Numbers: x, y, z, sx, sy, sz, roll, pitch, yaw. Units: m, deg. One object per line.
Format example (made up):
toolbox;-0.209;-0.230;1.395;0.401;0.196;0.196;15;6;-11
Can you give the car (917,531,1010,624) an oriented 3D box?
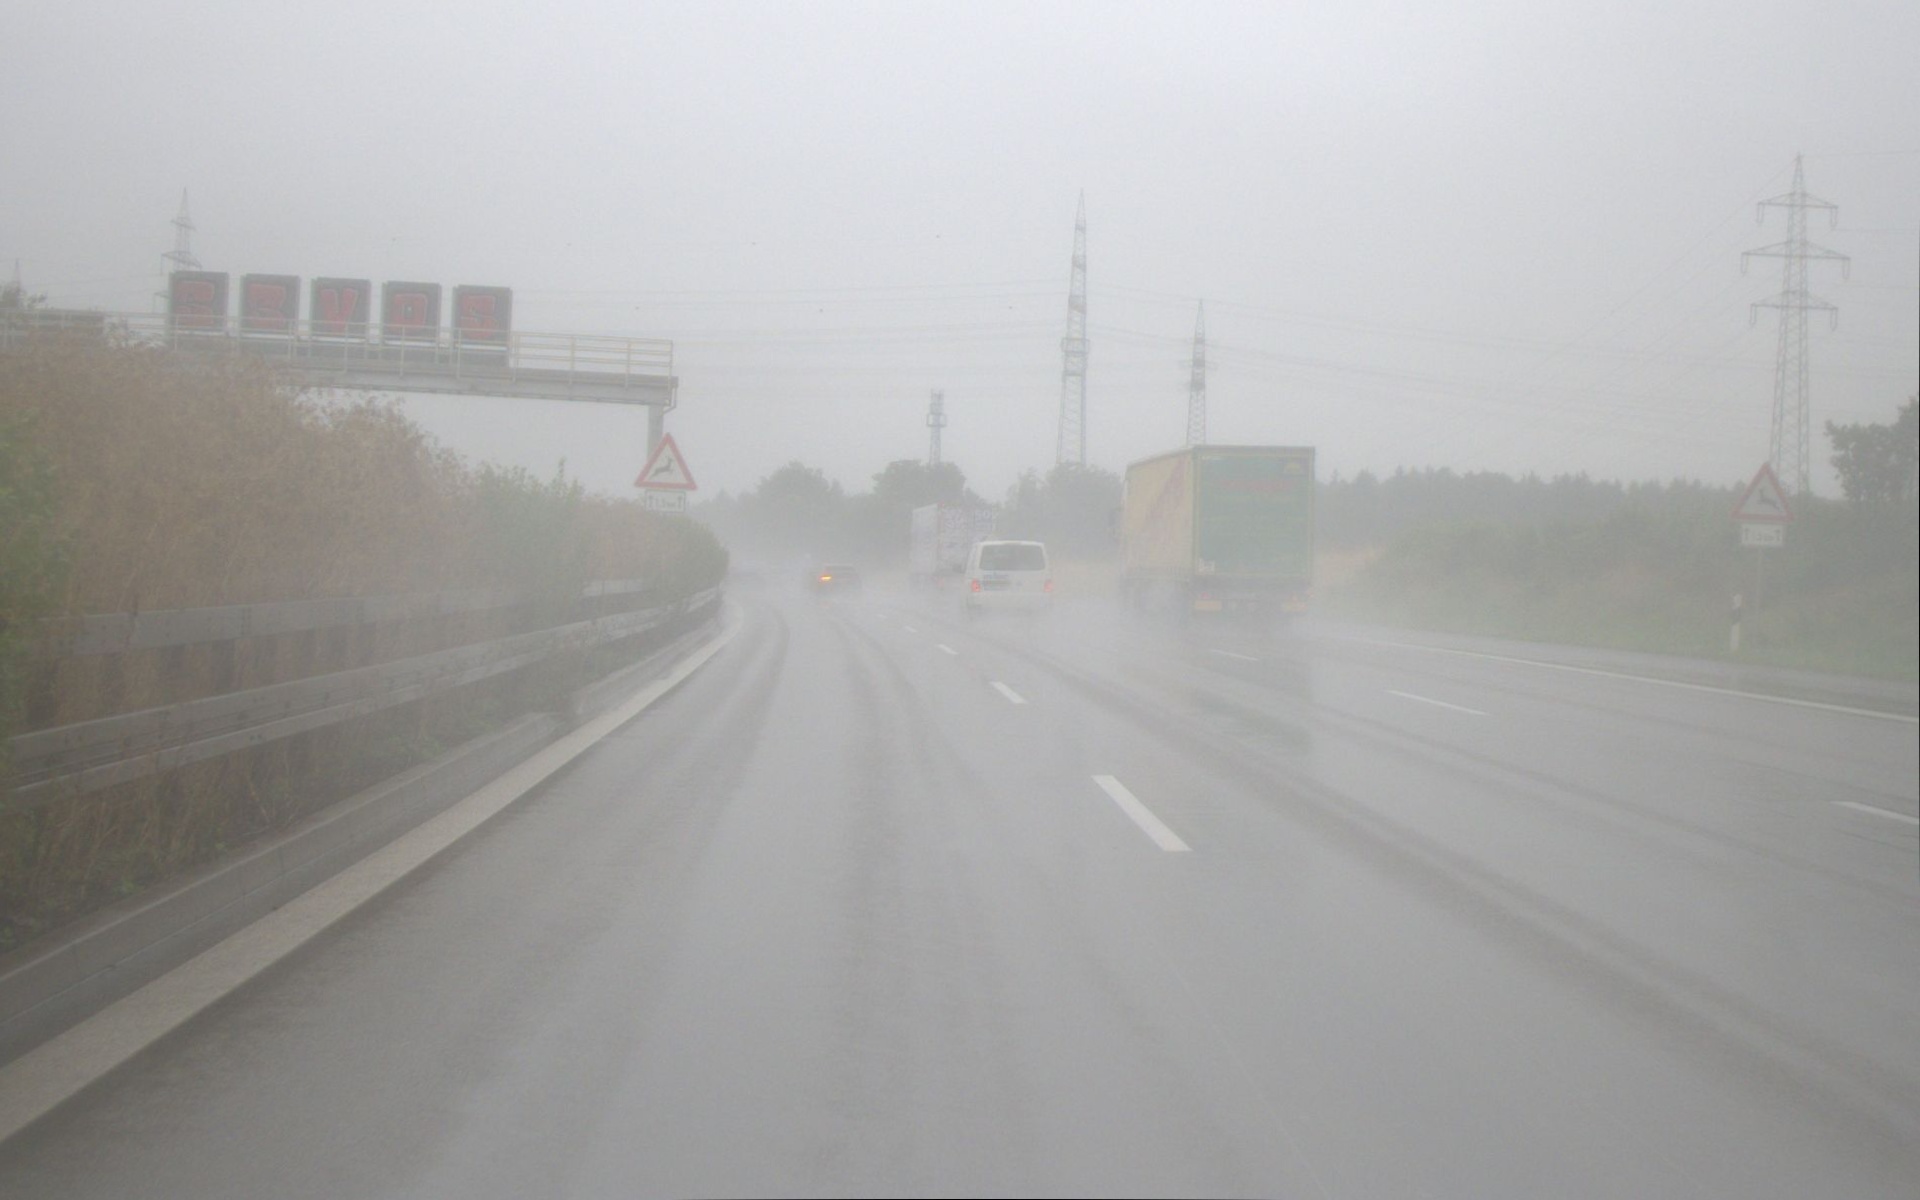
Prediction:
car;0.108;-0.539;77.469;1.993;2.007;4.000;1;1;1

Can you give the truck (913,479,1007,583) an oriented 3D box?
truck;-0.059;-2.991;148.388;3.232;4.296;8.839;1;1;-5

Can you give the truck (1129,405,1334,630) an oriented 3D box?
truck;6.049;-1.791;79.249;4.189;4.614;16.104;1;1;3
